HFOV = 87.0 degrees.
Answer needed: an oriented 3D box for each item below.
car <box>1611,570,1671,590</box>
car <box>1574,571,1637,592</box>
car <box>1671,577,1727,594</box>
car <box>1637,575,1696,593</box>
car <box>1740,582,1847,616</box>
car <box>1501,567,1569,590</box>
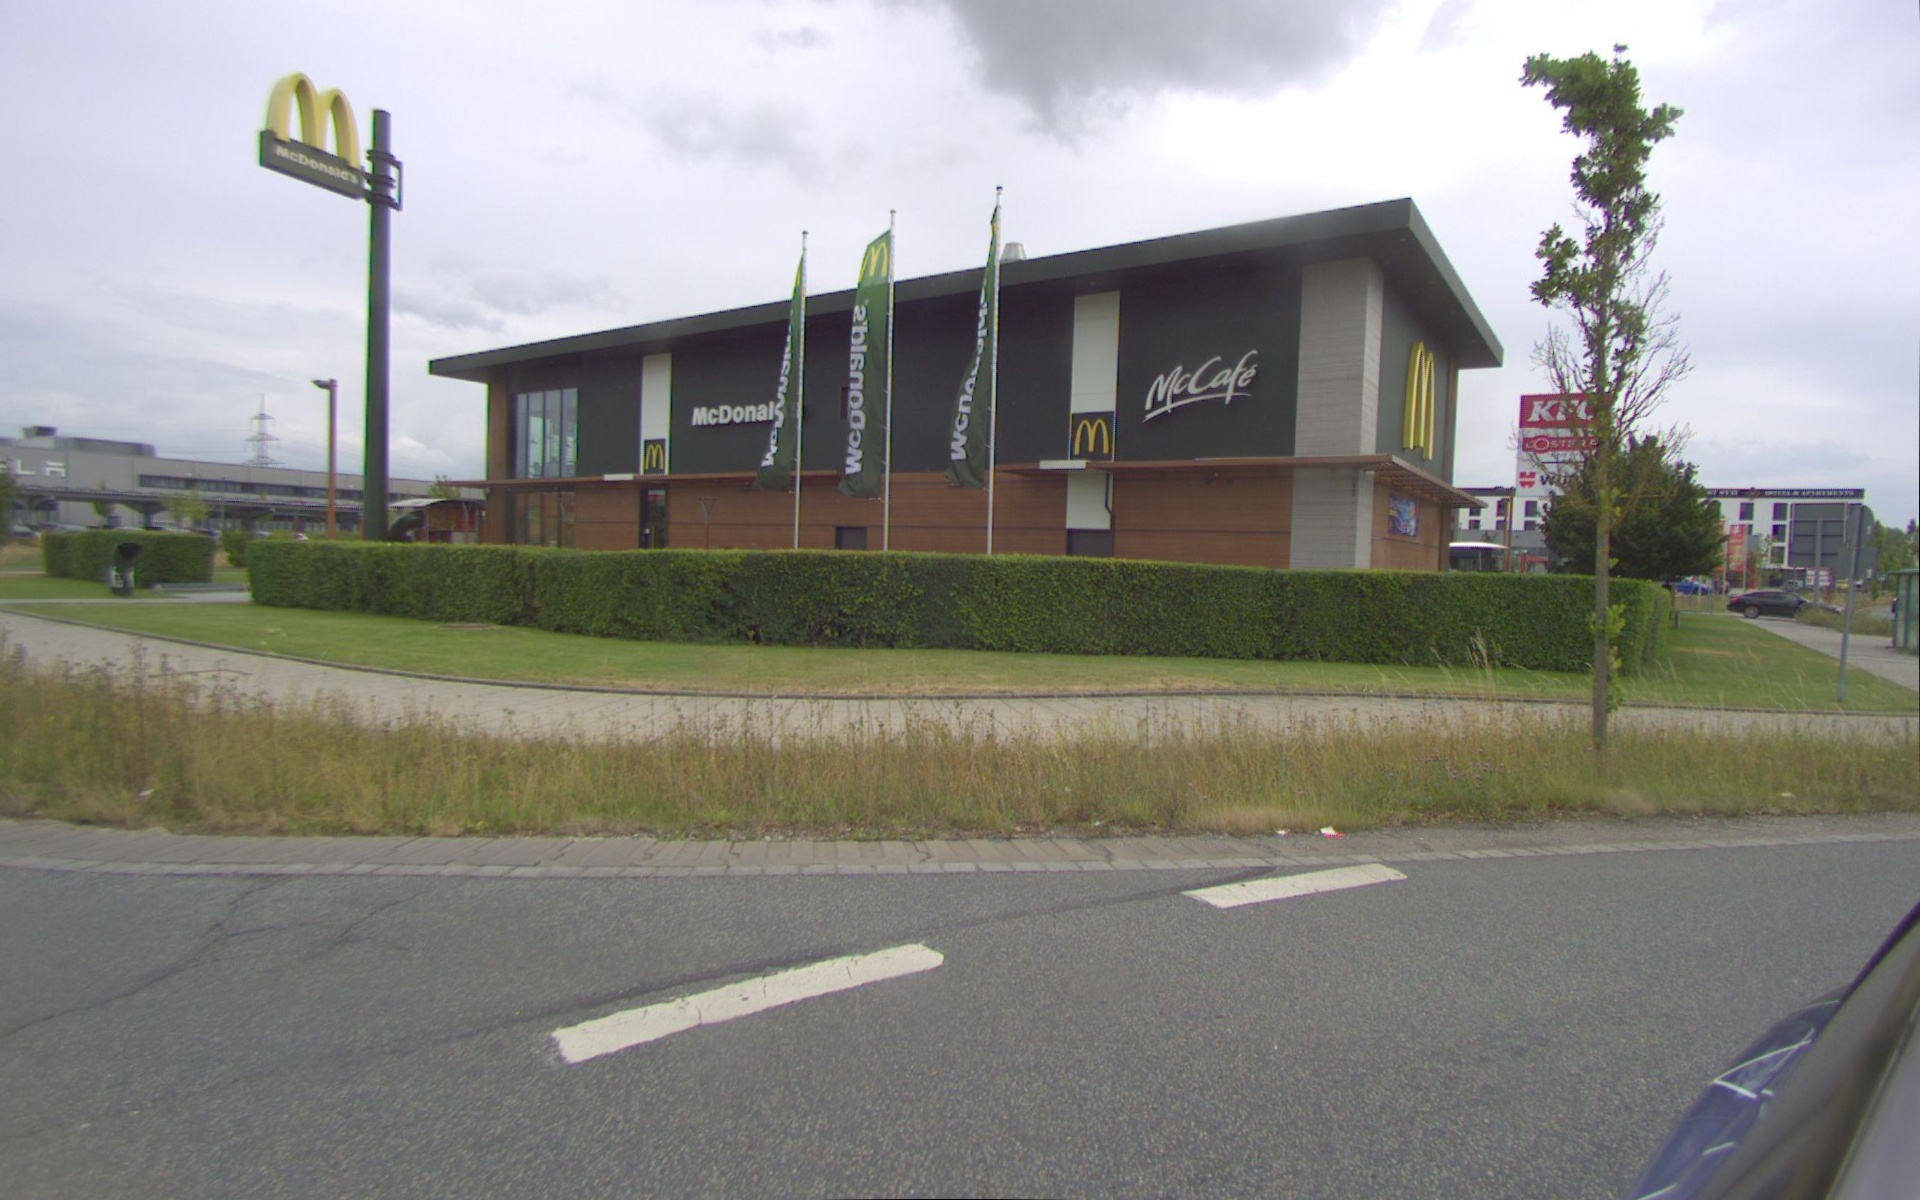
[{"bbox_3d":[58.752,-1.730,87.353,1.816,1.504,3.993,-1,4,-43],"label":"car"},{"bbox_3d":[51.775,-1.520,81.261,3.987,1.540,1.819,4,4,43],"label":"car"},{"bbox_3d":[70.477,-1.367,96.576,1.814,1.504,3.997,-2,3,-38],"label":"car"},{"bbox_3d":[63.228,-1.447,90.594,1.816,1.504,3.993,-1,4,-43],"label":"car"},{"bbox_3d":[40.640,-0.092,49.483,3.979,1.504,1.822,1,3,39],"label":"car"},{"bbox_3d":[38.756,-1.485,68.278,3.967,1.504,1.828,1,3,31],"label":"car"}]
